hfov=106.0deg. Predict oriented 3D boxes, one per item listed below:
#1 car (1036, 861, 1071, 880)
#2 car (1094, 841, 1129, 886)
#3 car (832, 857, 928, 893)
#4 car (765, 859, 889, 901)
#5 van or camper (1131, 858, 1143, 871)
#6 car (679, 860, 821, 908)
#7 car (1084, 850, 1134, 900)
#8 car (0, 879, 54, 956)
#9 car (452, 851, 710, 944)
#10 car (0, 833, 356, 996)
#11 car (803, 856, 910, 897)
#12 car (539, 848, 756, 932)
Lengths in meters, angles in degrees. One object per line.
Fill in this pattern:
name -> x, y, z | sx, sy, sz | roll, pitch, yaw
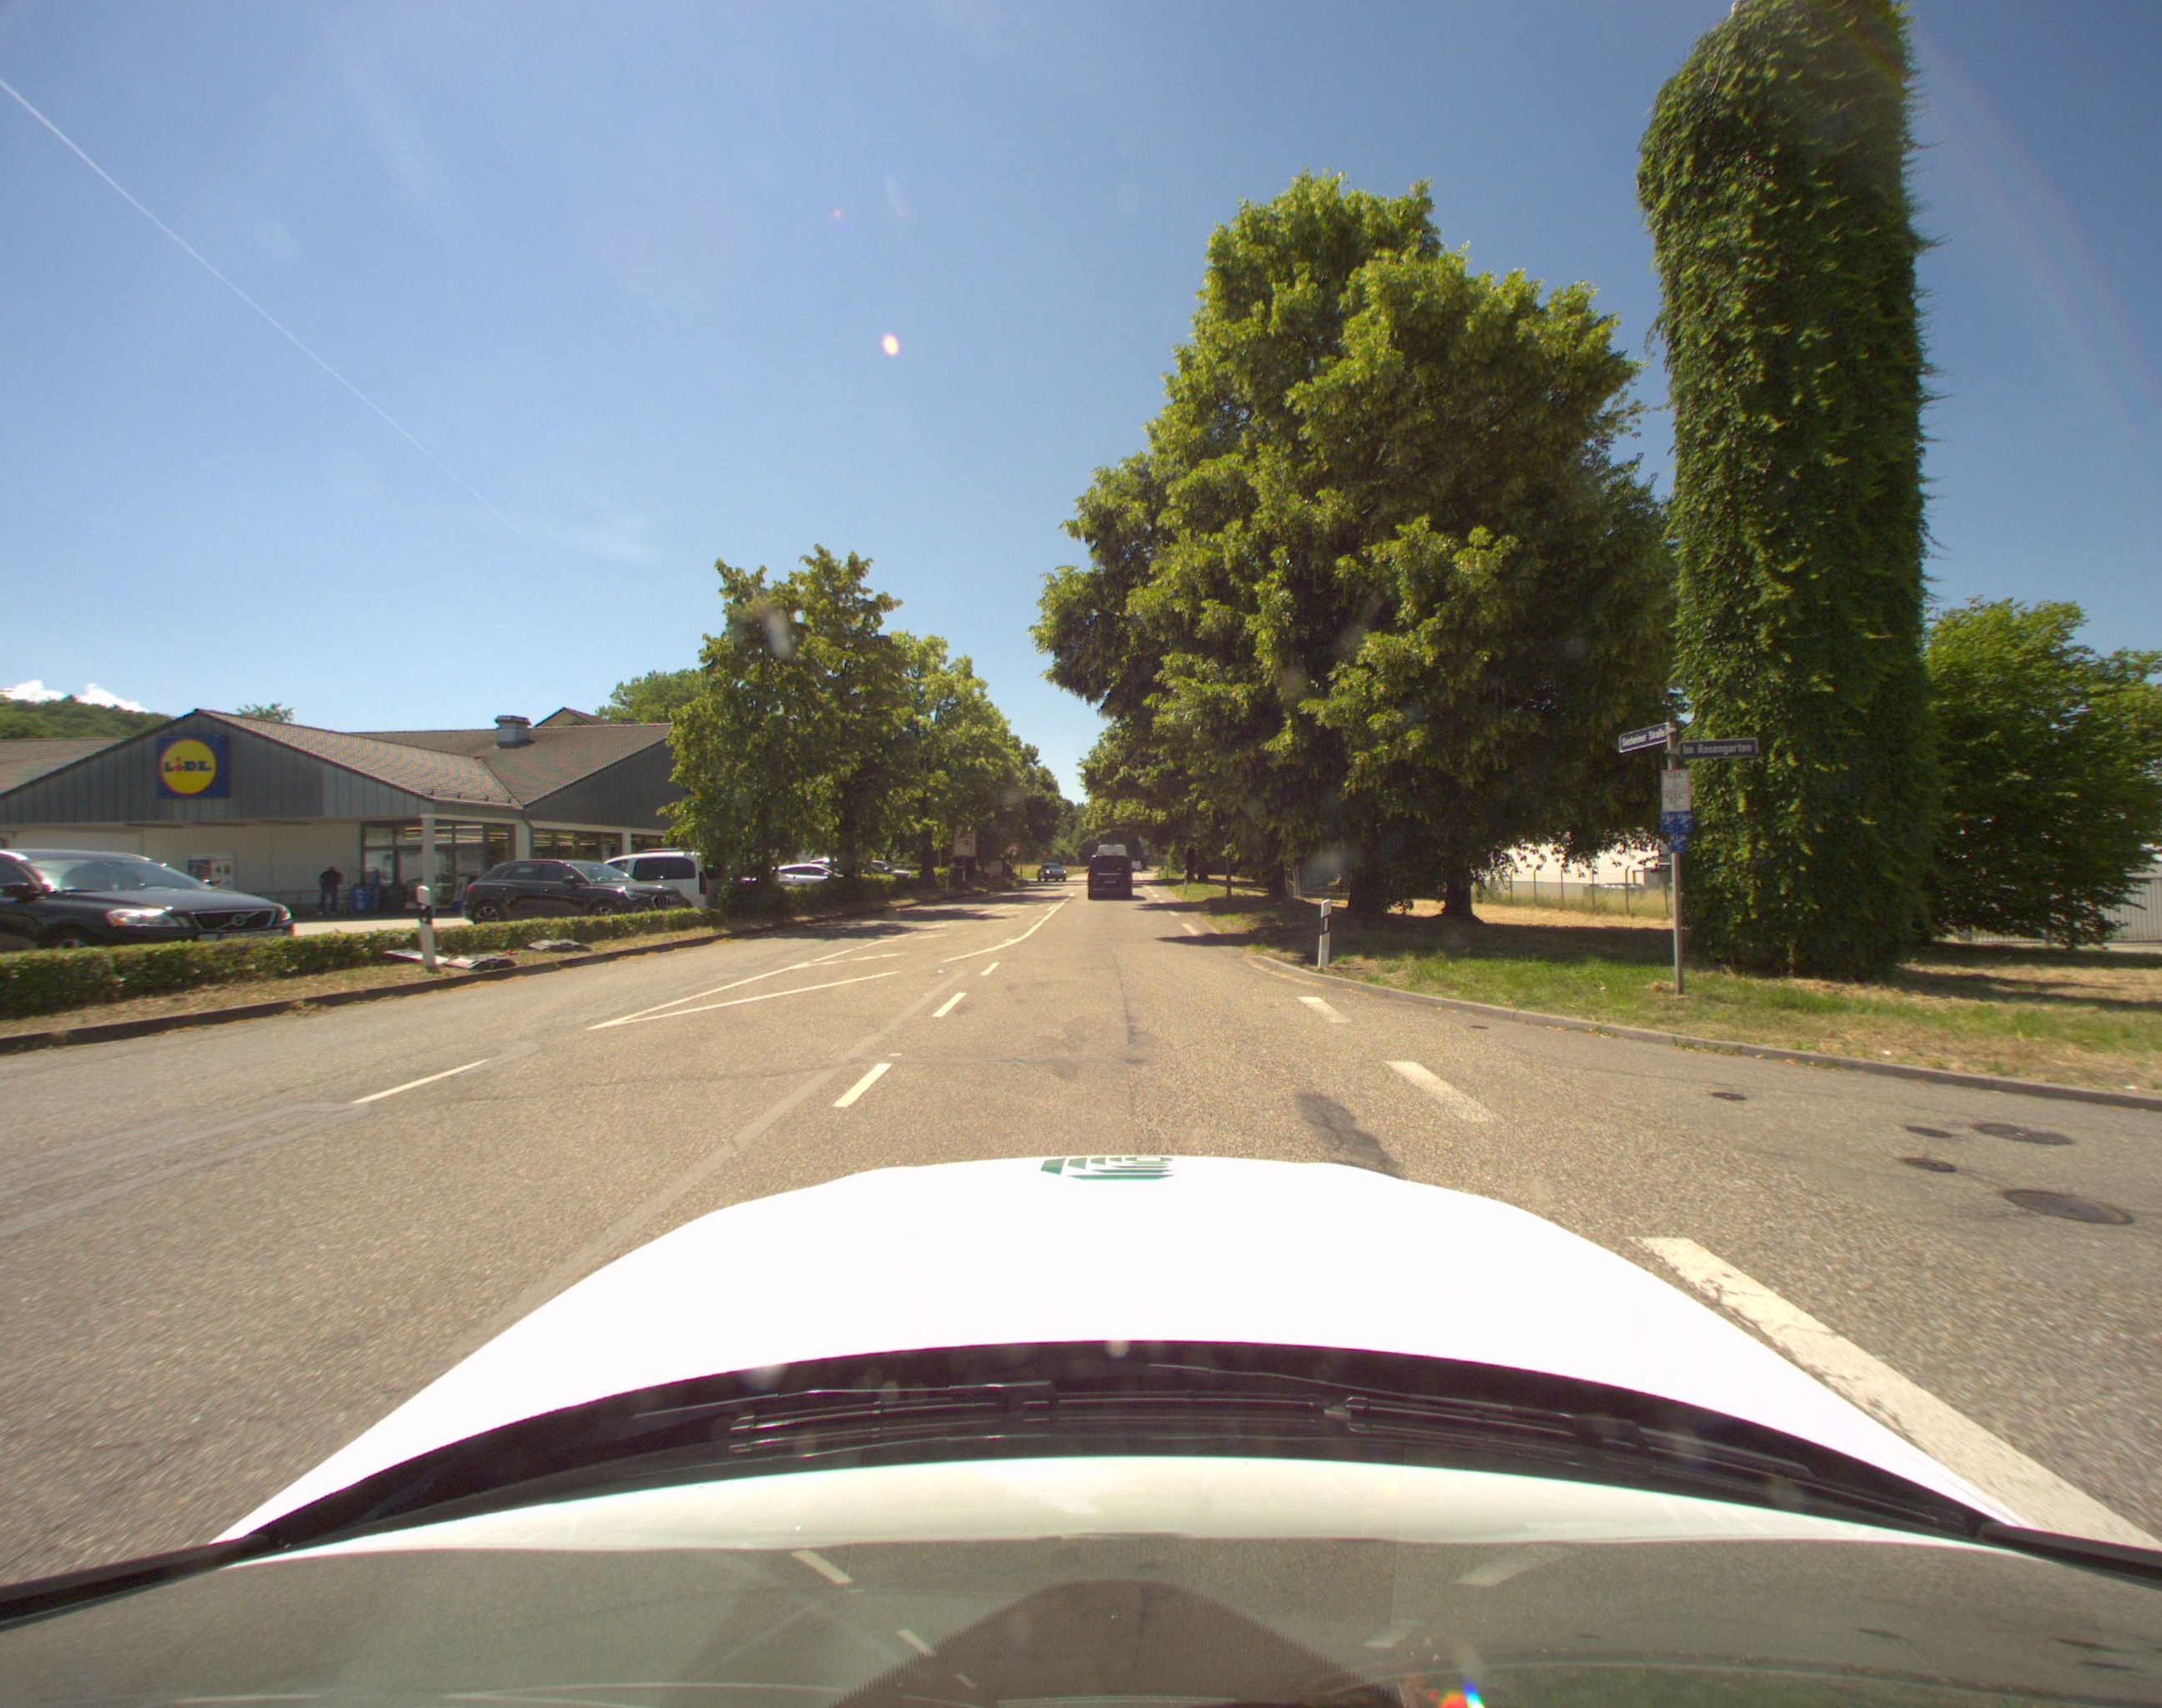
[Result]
car -> -2.482, 1.421, 72.428 | 2.098, 1.588, 4.450 | 1, -1, -16
car -> 1.950, 0.607, 51.215 | 2.069, 2.703, 4.669 | 1, -1, 3
car -> -10.283, 1.061, 41.958 | 4.385, 1.776, 2.073 | 1, -1, 1
car -> -10.276, 1.038, 33.184 | 4.385, 1.620, 1.895 | 1, -1, 1
van or camper -> 13.019, 2.357, 189.174 | 2.620, 2.929, 5.211 | 0, -1, 3
car -> -11.197, 0.986, 27.761 | 4.014, 1.525, 1.934 | 1, -1, 1
car -> 1.231, 0.888, 35.045 | 1.985, 1.953, 5.008 | 1, -1, 3
car -> -23.720, 1.273, 16.095 | 4.300, 1.530, 1.826 | 0, -1, -2
car -> -10.698, 0.896, 17.638 | 4.360, 1.845, 2.108 | 0, -1, 8
car -> -12.219, 0.678, 10.142 | 4.683, 1.762, 2.102 | 0, -1, 6
car -> -10.420, 1.033, 38.057 | 4.385, 1.776, 2.073 | 1, -1, 1
car -> -10.701, 0.880, 20.356 | 4.342, 1.980, 1.904 | 0, -1, -1
